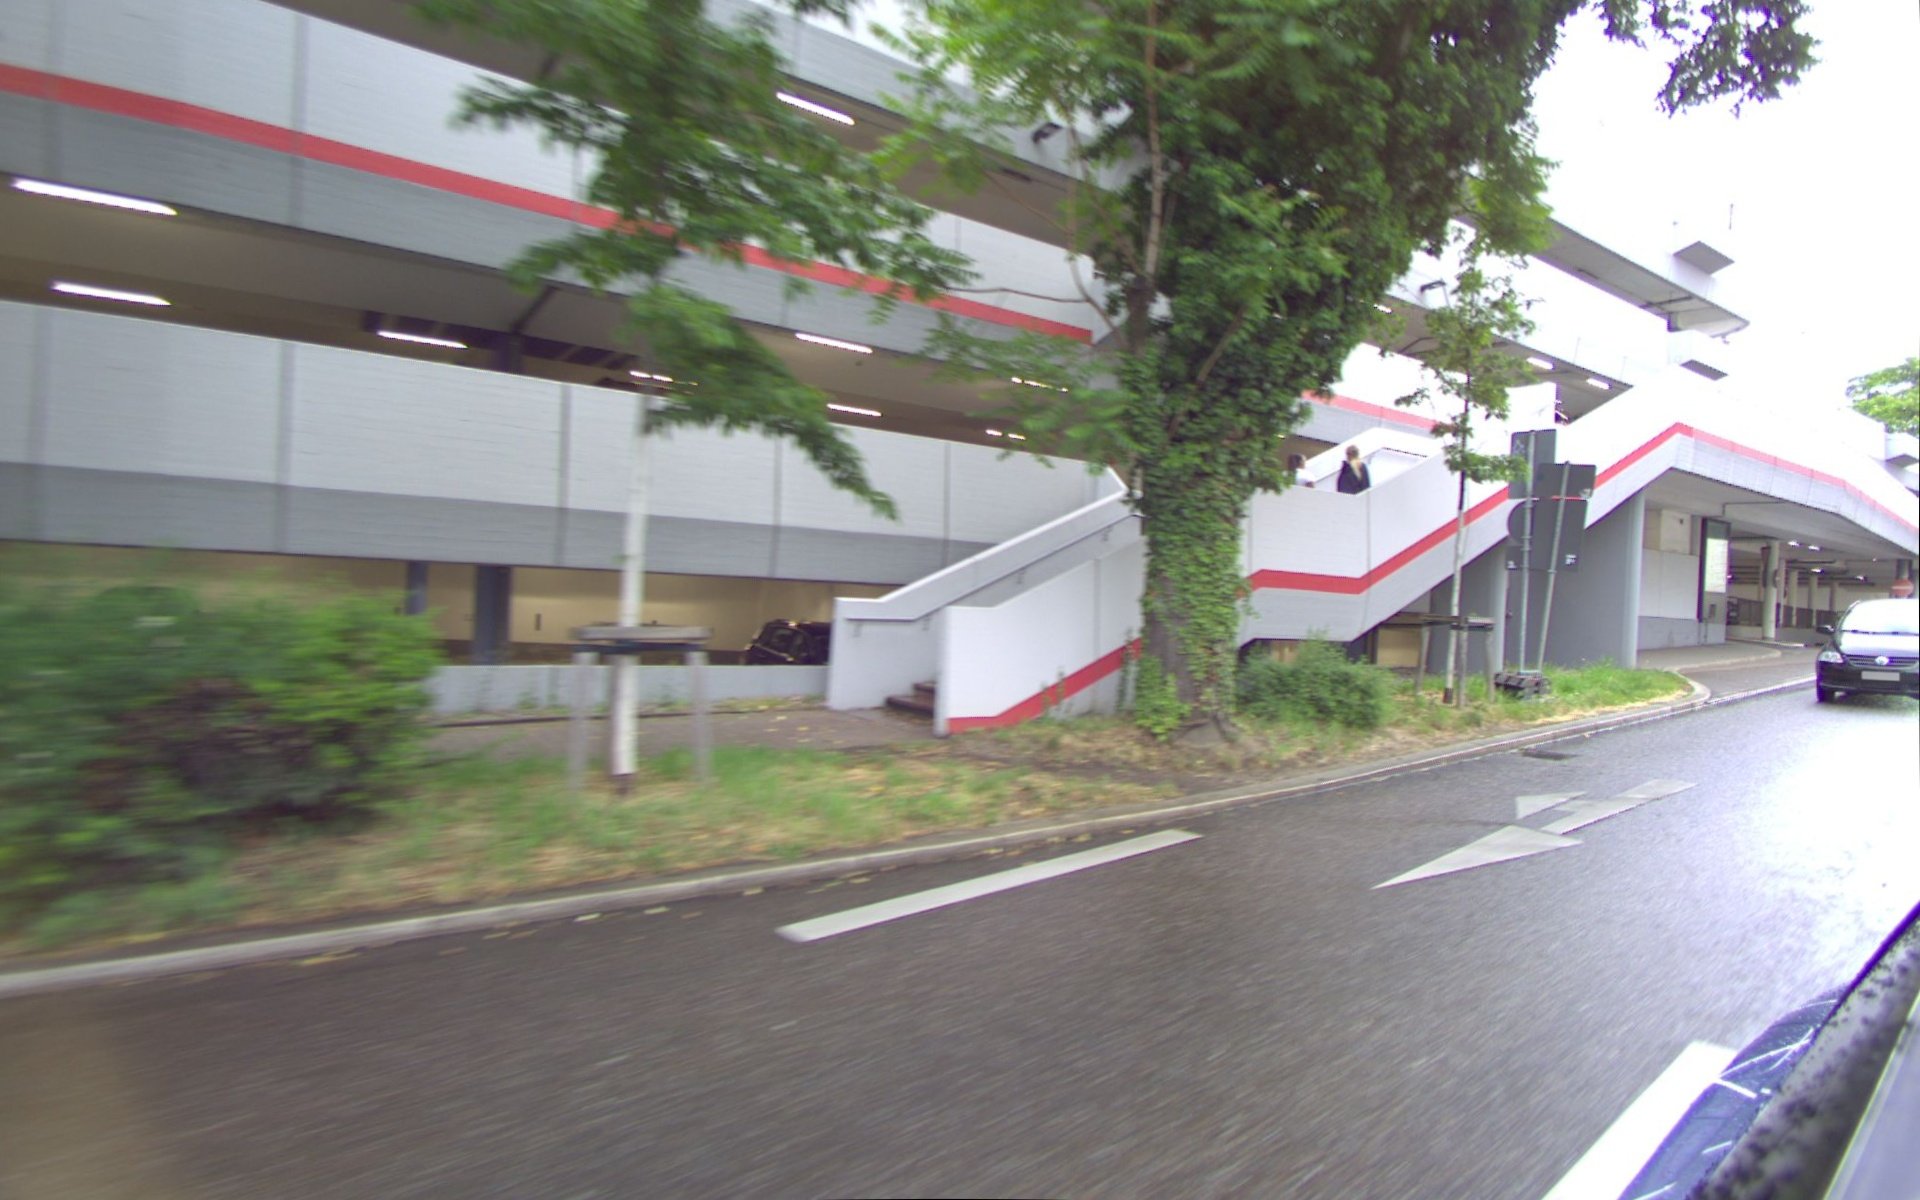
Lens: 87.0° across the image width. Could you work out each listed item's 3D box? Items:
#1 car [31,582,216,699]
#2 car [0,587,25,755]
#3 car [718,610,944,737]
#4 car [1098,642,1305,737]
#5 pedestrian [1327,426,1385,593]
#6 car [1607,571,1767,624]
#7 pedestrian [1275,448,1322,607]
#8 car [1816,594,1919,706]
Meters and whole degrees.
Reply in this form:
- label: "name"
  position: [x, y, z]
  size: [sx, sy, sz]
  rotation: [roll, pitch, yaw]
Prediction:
- label: "car"
  position: [-14.904, 0.618, 18.274]
  size: [1.779, 1.805, 4.006]
  rotation: [1, 1, -28]
- label: "car"
  position: [-10.686, 0.794, 9.637]
  size: [1.779, 1.805, 3.472]
  rotation: [1, 1, -28]
- label: "car"
  position: [-2.066, 1.031, 15.324]
  size: [1.775, 1.560, 3.745]
  rotation: [4, -1, -35]
- label: "car"
  position: [4.909, 1.789, 21.056]
  size: [1.803, 1.560, 3.943]
  rotation: [4, -1, -35]
- label: "pedestrian"
  position: [5.325, -1.191, 13.615]
  size: [0.484, 2.181, 0.515]
  rotation: [0, 1, -36]
- label: "car"
  position: [26.440, -0.110, 36.942]
  size: [1.960, 1.682, 4.261]
  rotation: [5, -2, -31]
- label: "pedestrian"
  position: [4.757, -1.005, 14.231]
  size: [0.426, 2.181, 0.422]
  rotation: [0, 1, -36]
- label: "car"
  position: [14.572, 0.716, 15.496]
  size: [3.920, 1.545, 1.682]
  rotation: [1, -1, -41]
